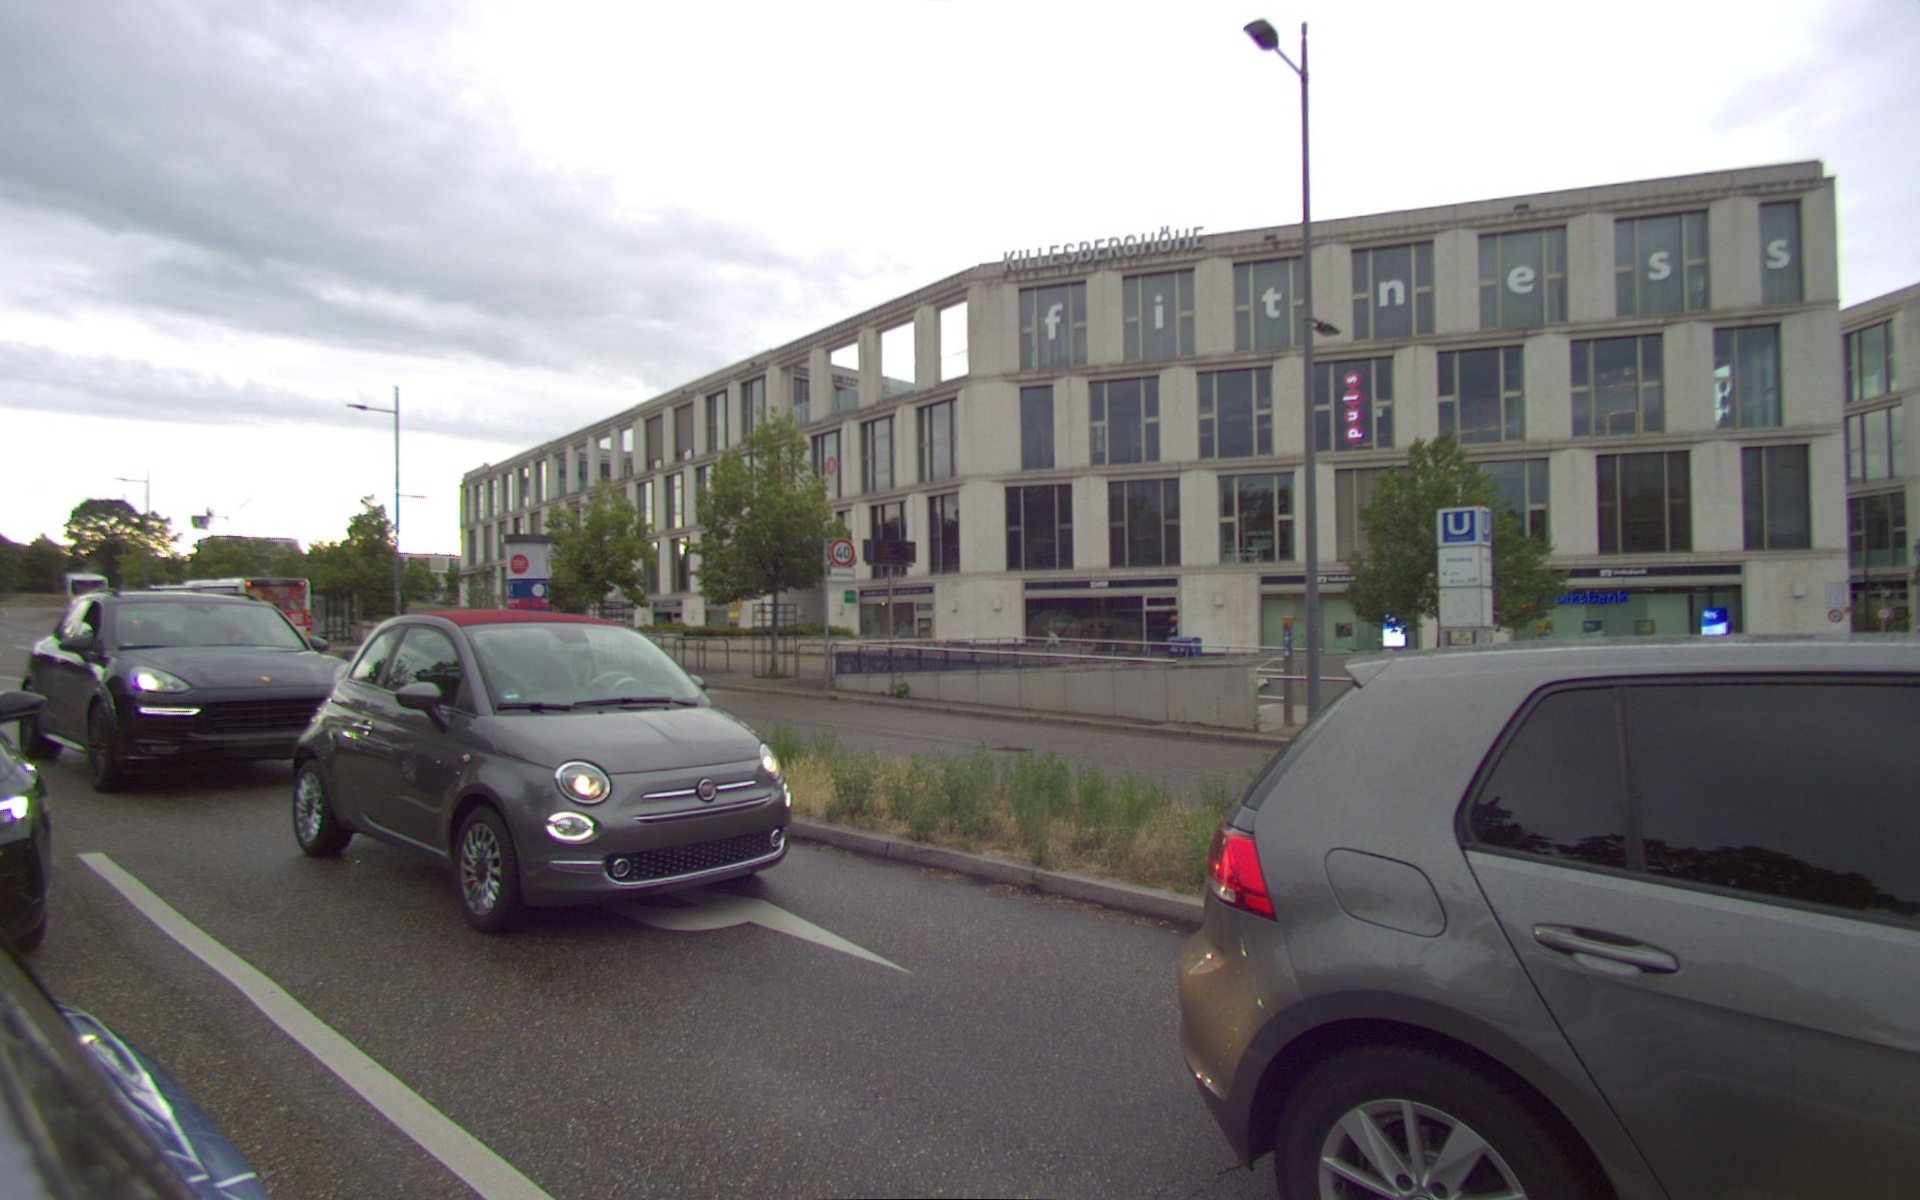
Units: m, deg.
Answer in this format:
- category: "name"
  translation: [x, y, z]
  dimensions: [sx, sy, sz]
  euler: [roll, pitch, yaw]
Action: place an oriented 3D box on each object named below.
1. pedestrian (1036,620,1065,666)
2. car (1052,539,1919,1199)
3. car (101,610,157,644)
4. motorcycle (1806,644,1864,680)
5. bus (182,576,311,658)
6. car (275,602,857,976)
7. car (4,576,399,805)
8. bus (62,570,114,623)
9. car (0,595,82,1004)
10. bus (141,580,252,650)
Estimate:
- category: "pedestrian"
  translation: [3.257, 1.535, 36.283]
  dimensions: [0.907, 1.617, 0.760]
  euler: [0, -1, 19]
- category: "car"
  translation: [2.440, 0.669, 1.605]
  dimensions: [4.374, 1.492, 1.797]
  euler: [-1, -1, 41]
- category: "car"
  translation: [-47.239, 1.503, 57.538]
  dimensions: [3.998, 1.800, 1.843]
  euler: [0, 0, 41]
- category: "motorcycle"
  translation: [20.345, 1.434, 23.547]
  dimensions: [0.517, 0.746, 1.098]
  euler: [0, 0, 9]
- category: "bus"
  translation: [-31.247, 0.692, 44.143]
  dimensions: [9.206, 3.236, 2.722]
  euler: [0, 0, 43]
- category: "car"
  translation: [-2.393, 0.782, 5.796]
  dimensions: [3.503, 1.492, 1.610]
  euler: [-1, -1, 40]
- category: "car"
  translation: [-7.324, 0.696, 9.599]
  dimensions: [4.613, 1.671, 1.910]
  euler: [-1, -1, 39]
- category: "bus"
  translation: [-76.356, -0.267, 88.877]
  dimensions: [2.717, 4.185, 19.383]
  euler: [0, 0, -39]
- category: "car"
  translation: [-5.724, 0.738, 4.693]
  dimensions: [4.766, 1.476, 1.877]
  euler: [0, 0, 41]
- category: "bus"
  translation: [-38.268, 0.715, 50.557]
  dimensions: [9.911, 3.205, 2.658]
  euler: [0, 0, 42]
